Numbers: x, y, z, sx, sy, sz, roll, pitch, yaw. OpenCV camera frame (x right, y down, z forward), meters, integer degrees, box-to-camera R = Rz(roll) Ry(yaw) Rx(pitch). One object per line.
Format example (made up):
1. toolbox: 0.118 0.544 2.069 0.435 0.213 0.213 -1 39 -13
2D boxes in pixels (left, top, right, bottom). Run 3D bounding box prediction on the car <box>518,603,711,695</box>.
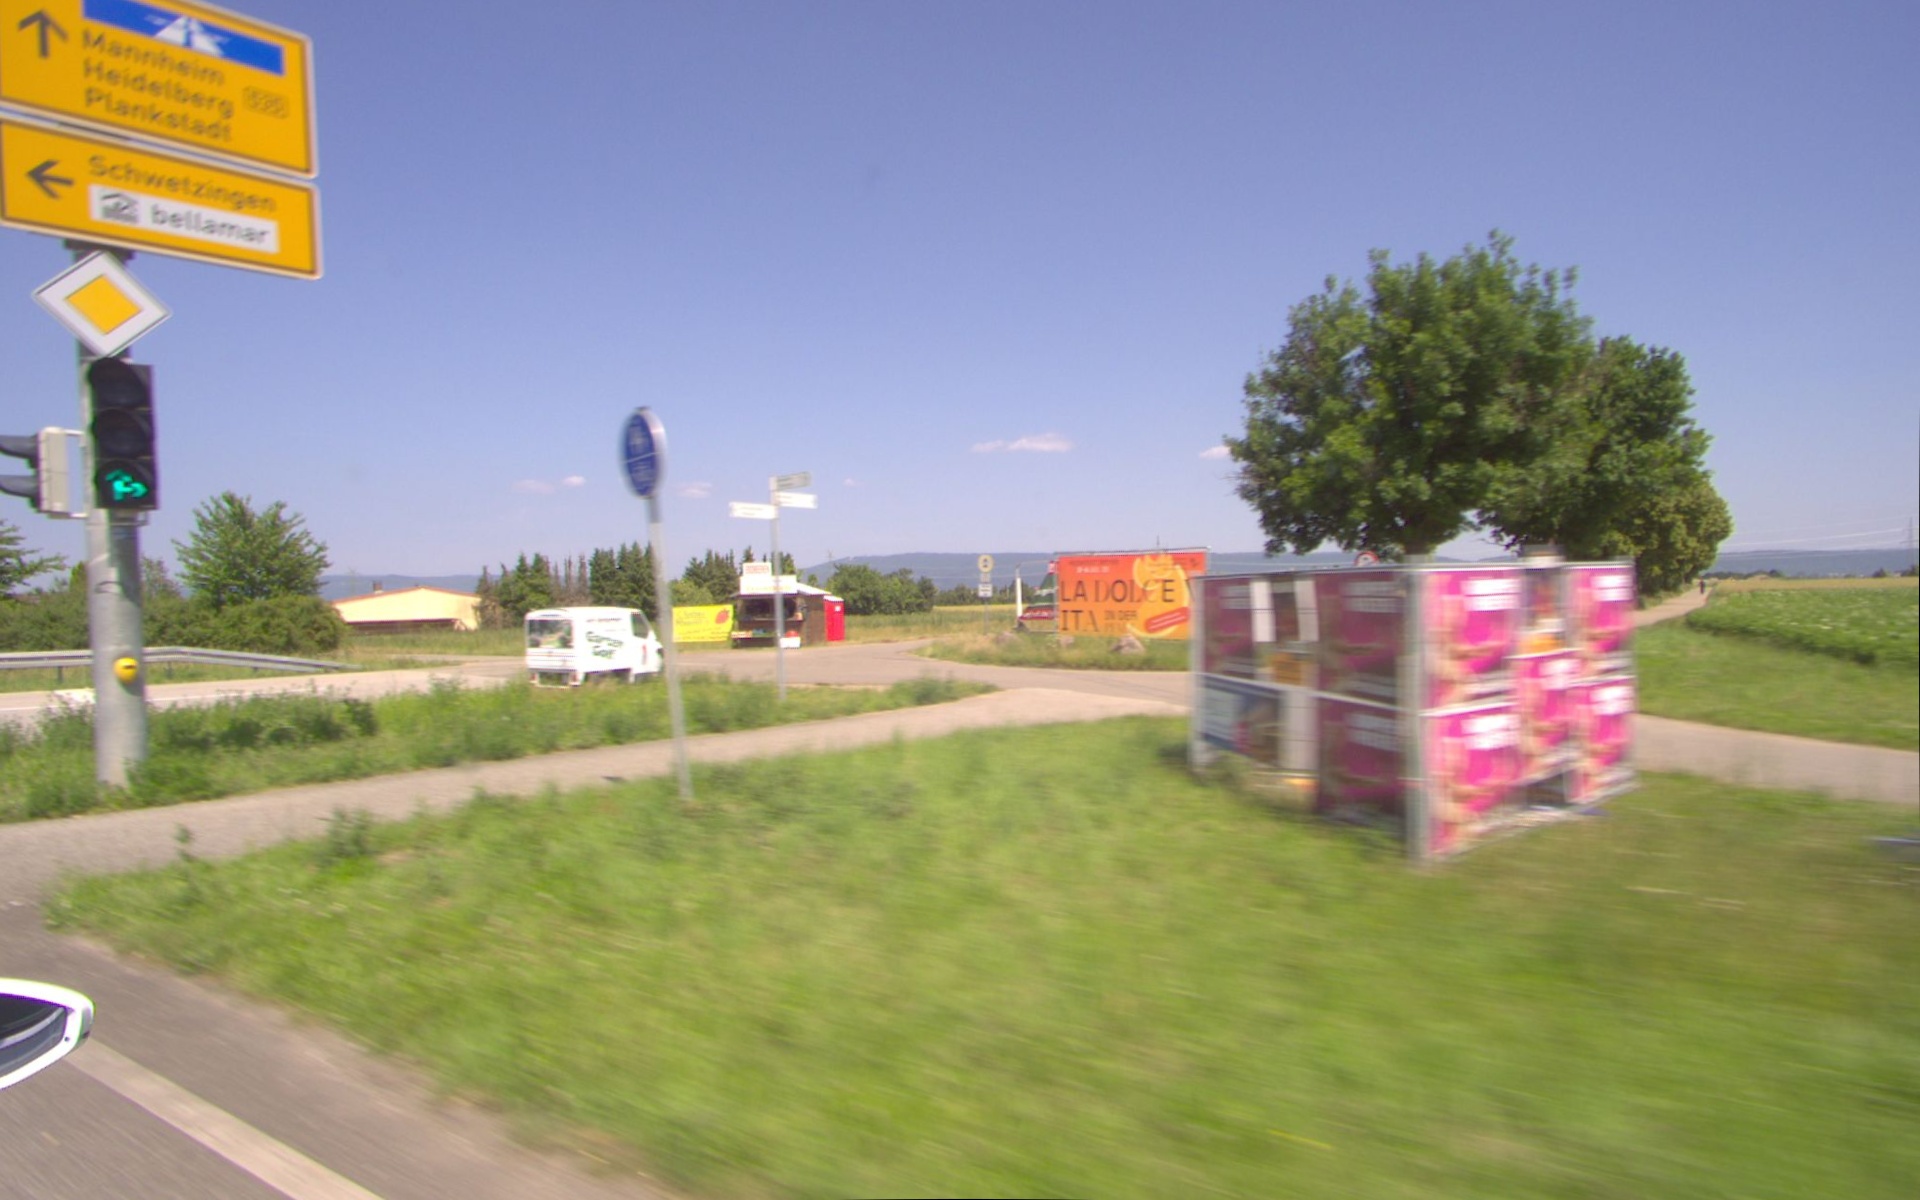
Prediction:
1. car: -6.204 0.833 18.318 1.378 1.519 3.335 -1 -1 25
